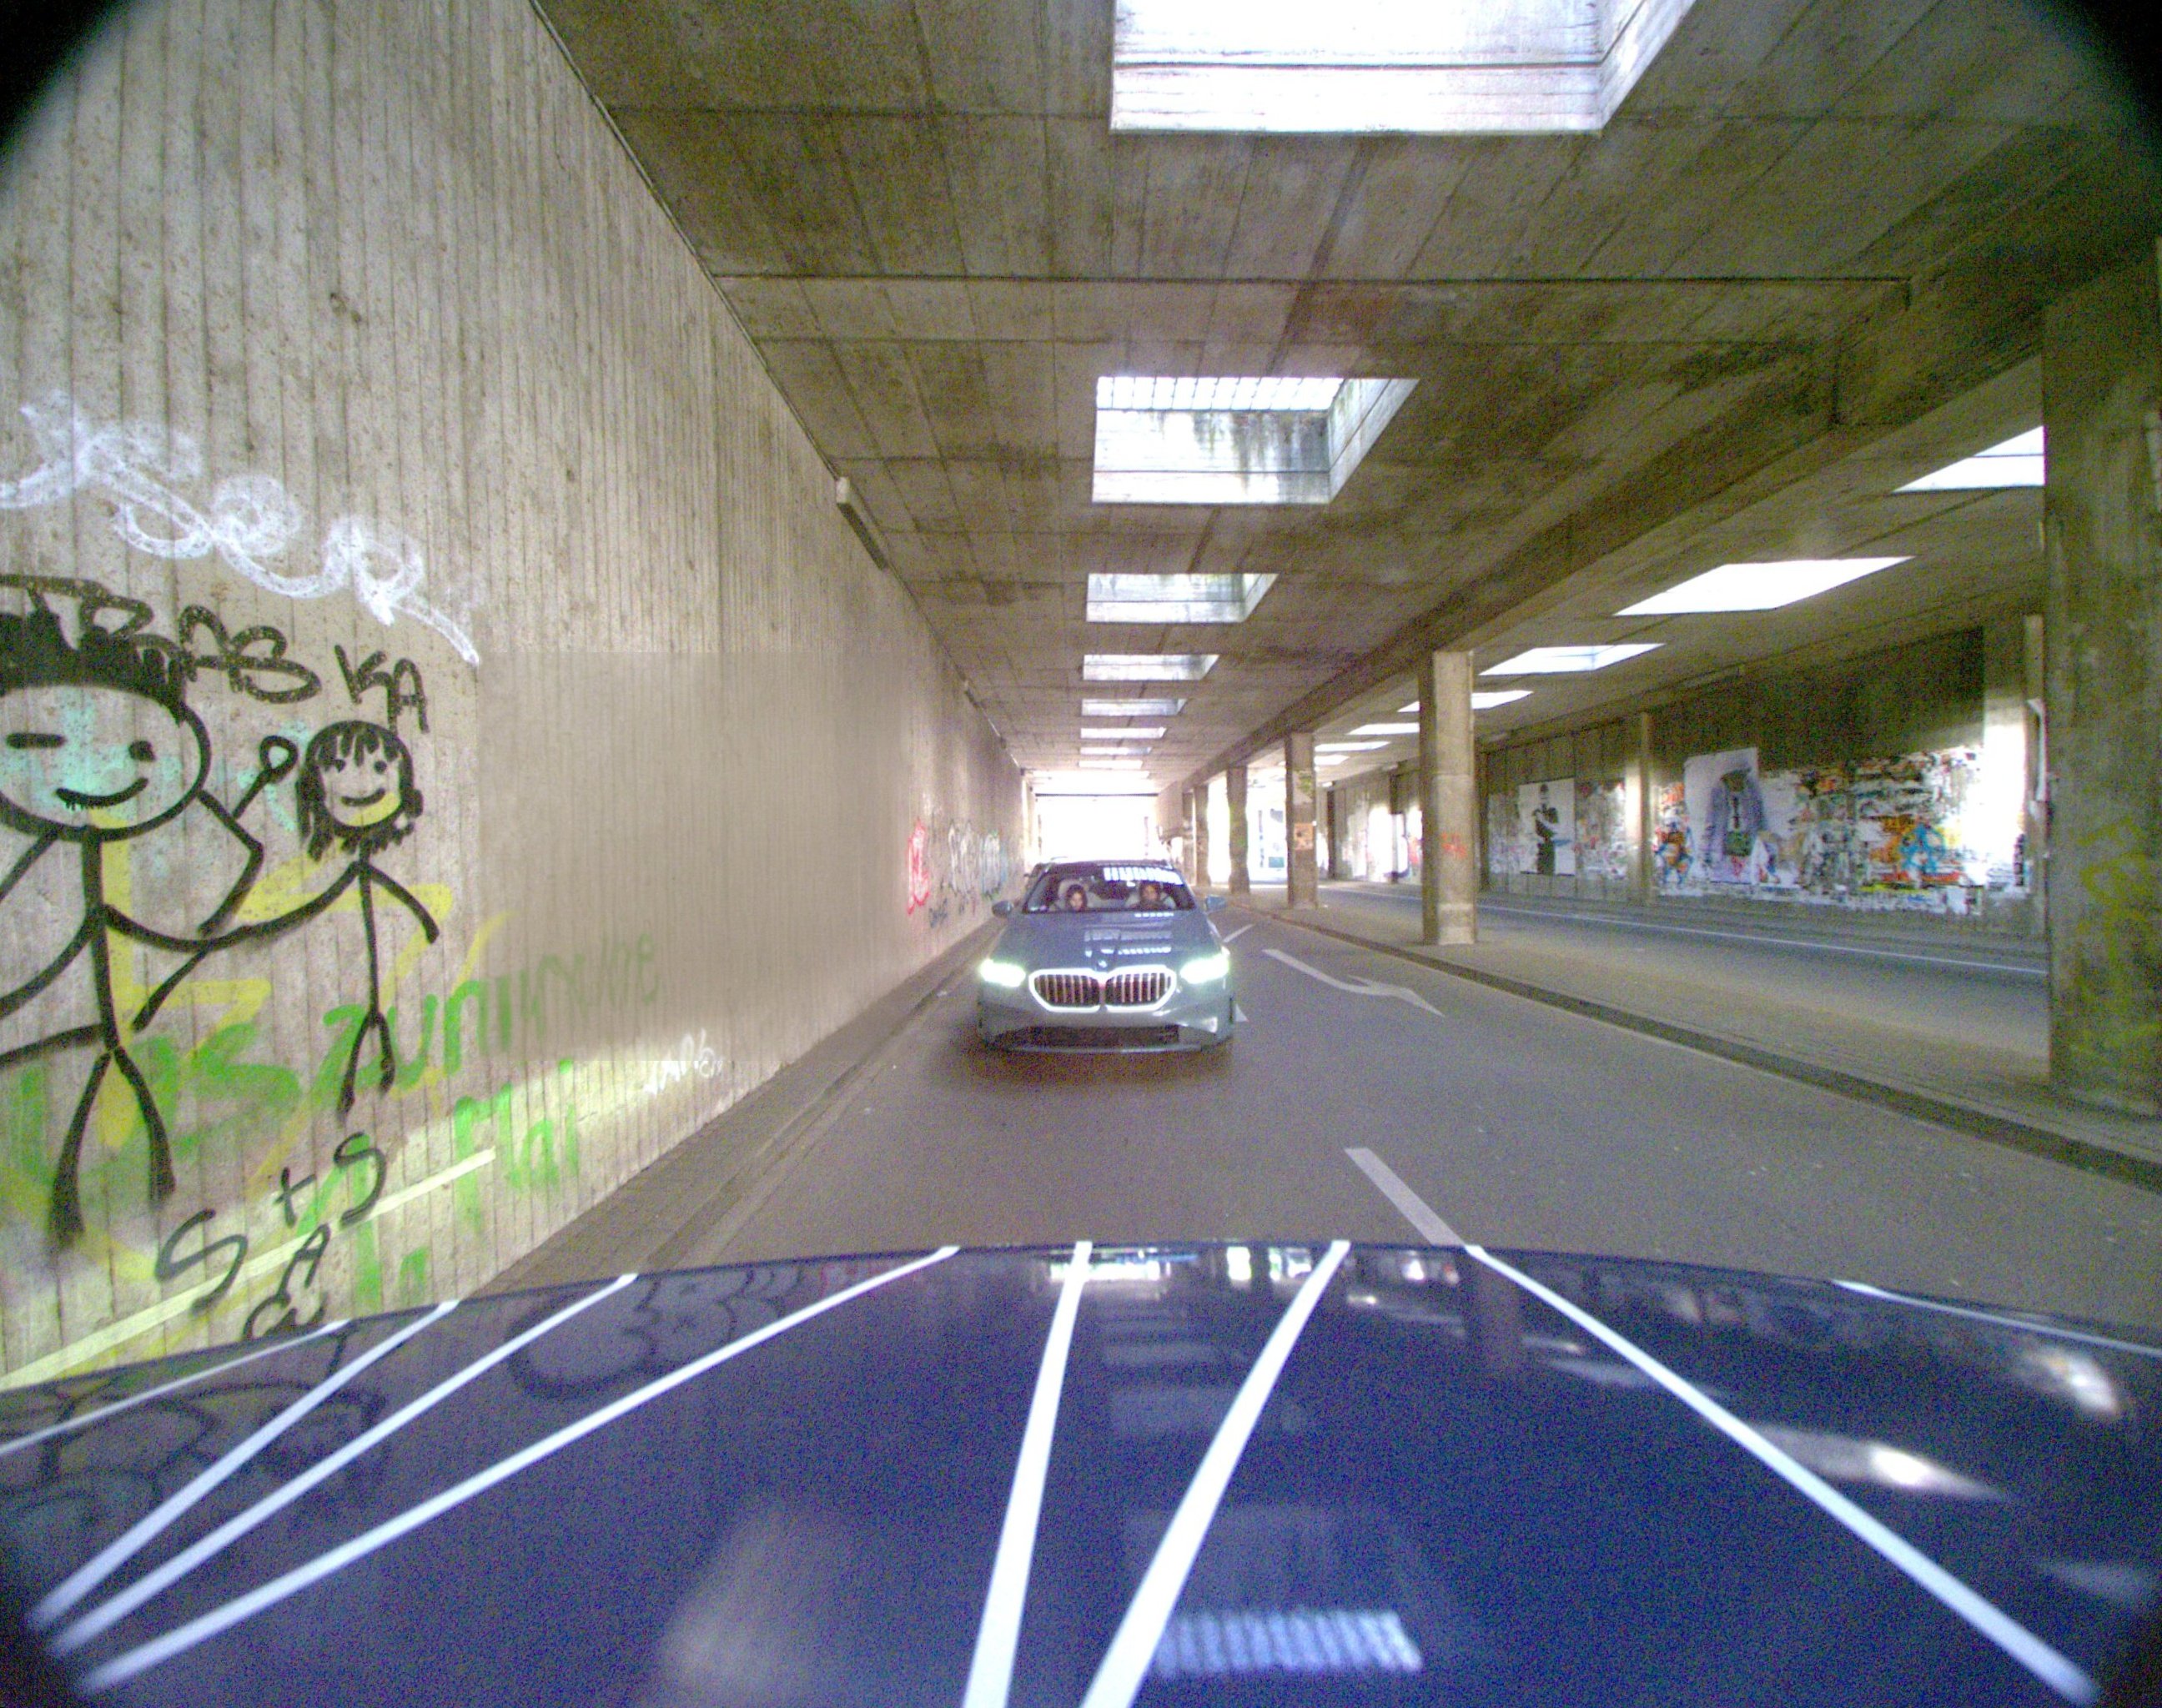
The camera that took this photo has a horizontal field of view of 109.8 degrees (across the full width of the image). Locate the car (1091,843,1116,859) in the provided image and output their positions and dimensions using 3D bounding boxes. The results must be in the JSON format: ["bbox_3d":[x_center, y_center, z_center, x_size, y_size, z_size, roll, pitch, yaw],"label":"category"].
[{"bbox_3d":[2.851,-0.334,97.515,2.361,2.002,5.146,-1,0,-8],"label":"car"}]

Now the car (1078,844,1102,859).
[{"bbox_3d":[1.197,-0.342,103.528,2.361,2.002,5.146,-1,0,-8],"label":"car"}]

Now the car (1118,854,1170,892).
[{"bbox_3d":[2.617,0.772,32.287,1.784,1.438,4.178,-2,0,0],"label":"car"}]

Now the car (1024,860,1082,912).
[{"bbox_3d":[-0.797,0.942,23.877,1.593,1.387,3.833,-2,0,1],"label":"car"}]

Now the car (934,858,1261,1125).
[{"bbox_3d":[0.180,0.876,7.303,1.998,1.594,5.176,-1,0,2],"label":"car"}]

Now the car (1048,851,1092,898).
[{"bbox_3d":[-0.374,0.762,29.884,1.581,1.676,4.078,-2,0,1],"label":"car"}]
